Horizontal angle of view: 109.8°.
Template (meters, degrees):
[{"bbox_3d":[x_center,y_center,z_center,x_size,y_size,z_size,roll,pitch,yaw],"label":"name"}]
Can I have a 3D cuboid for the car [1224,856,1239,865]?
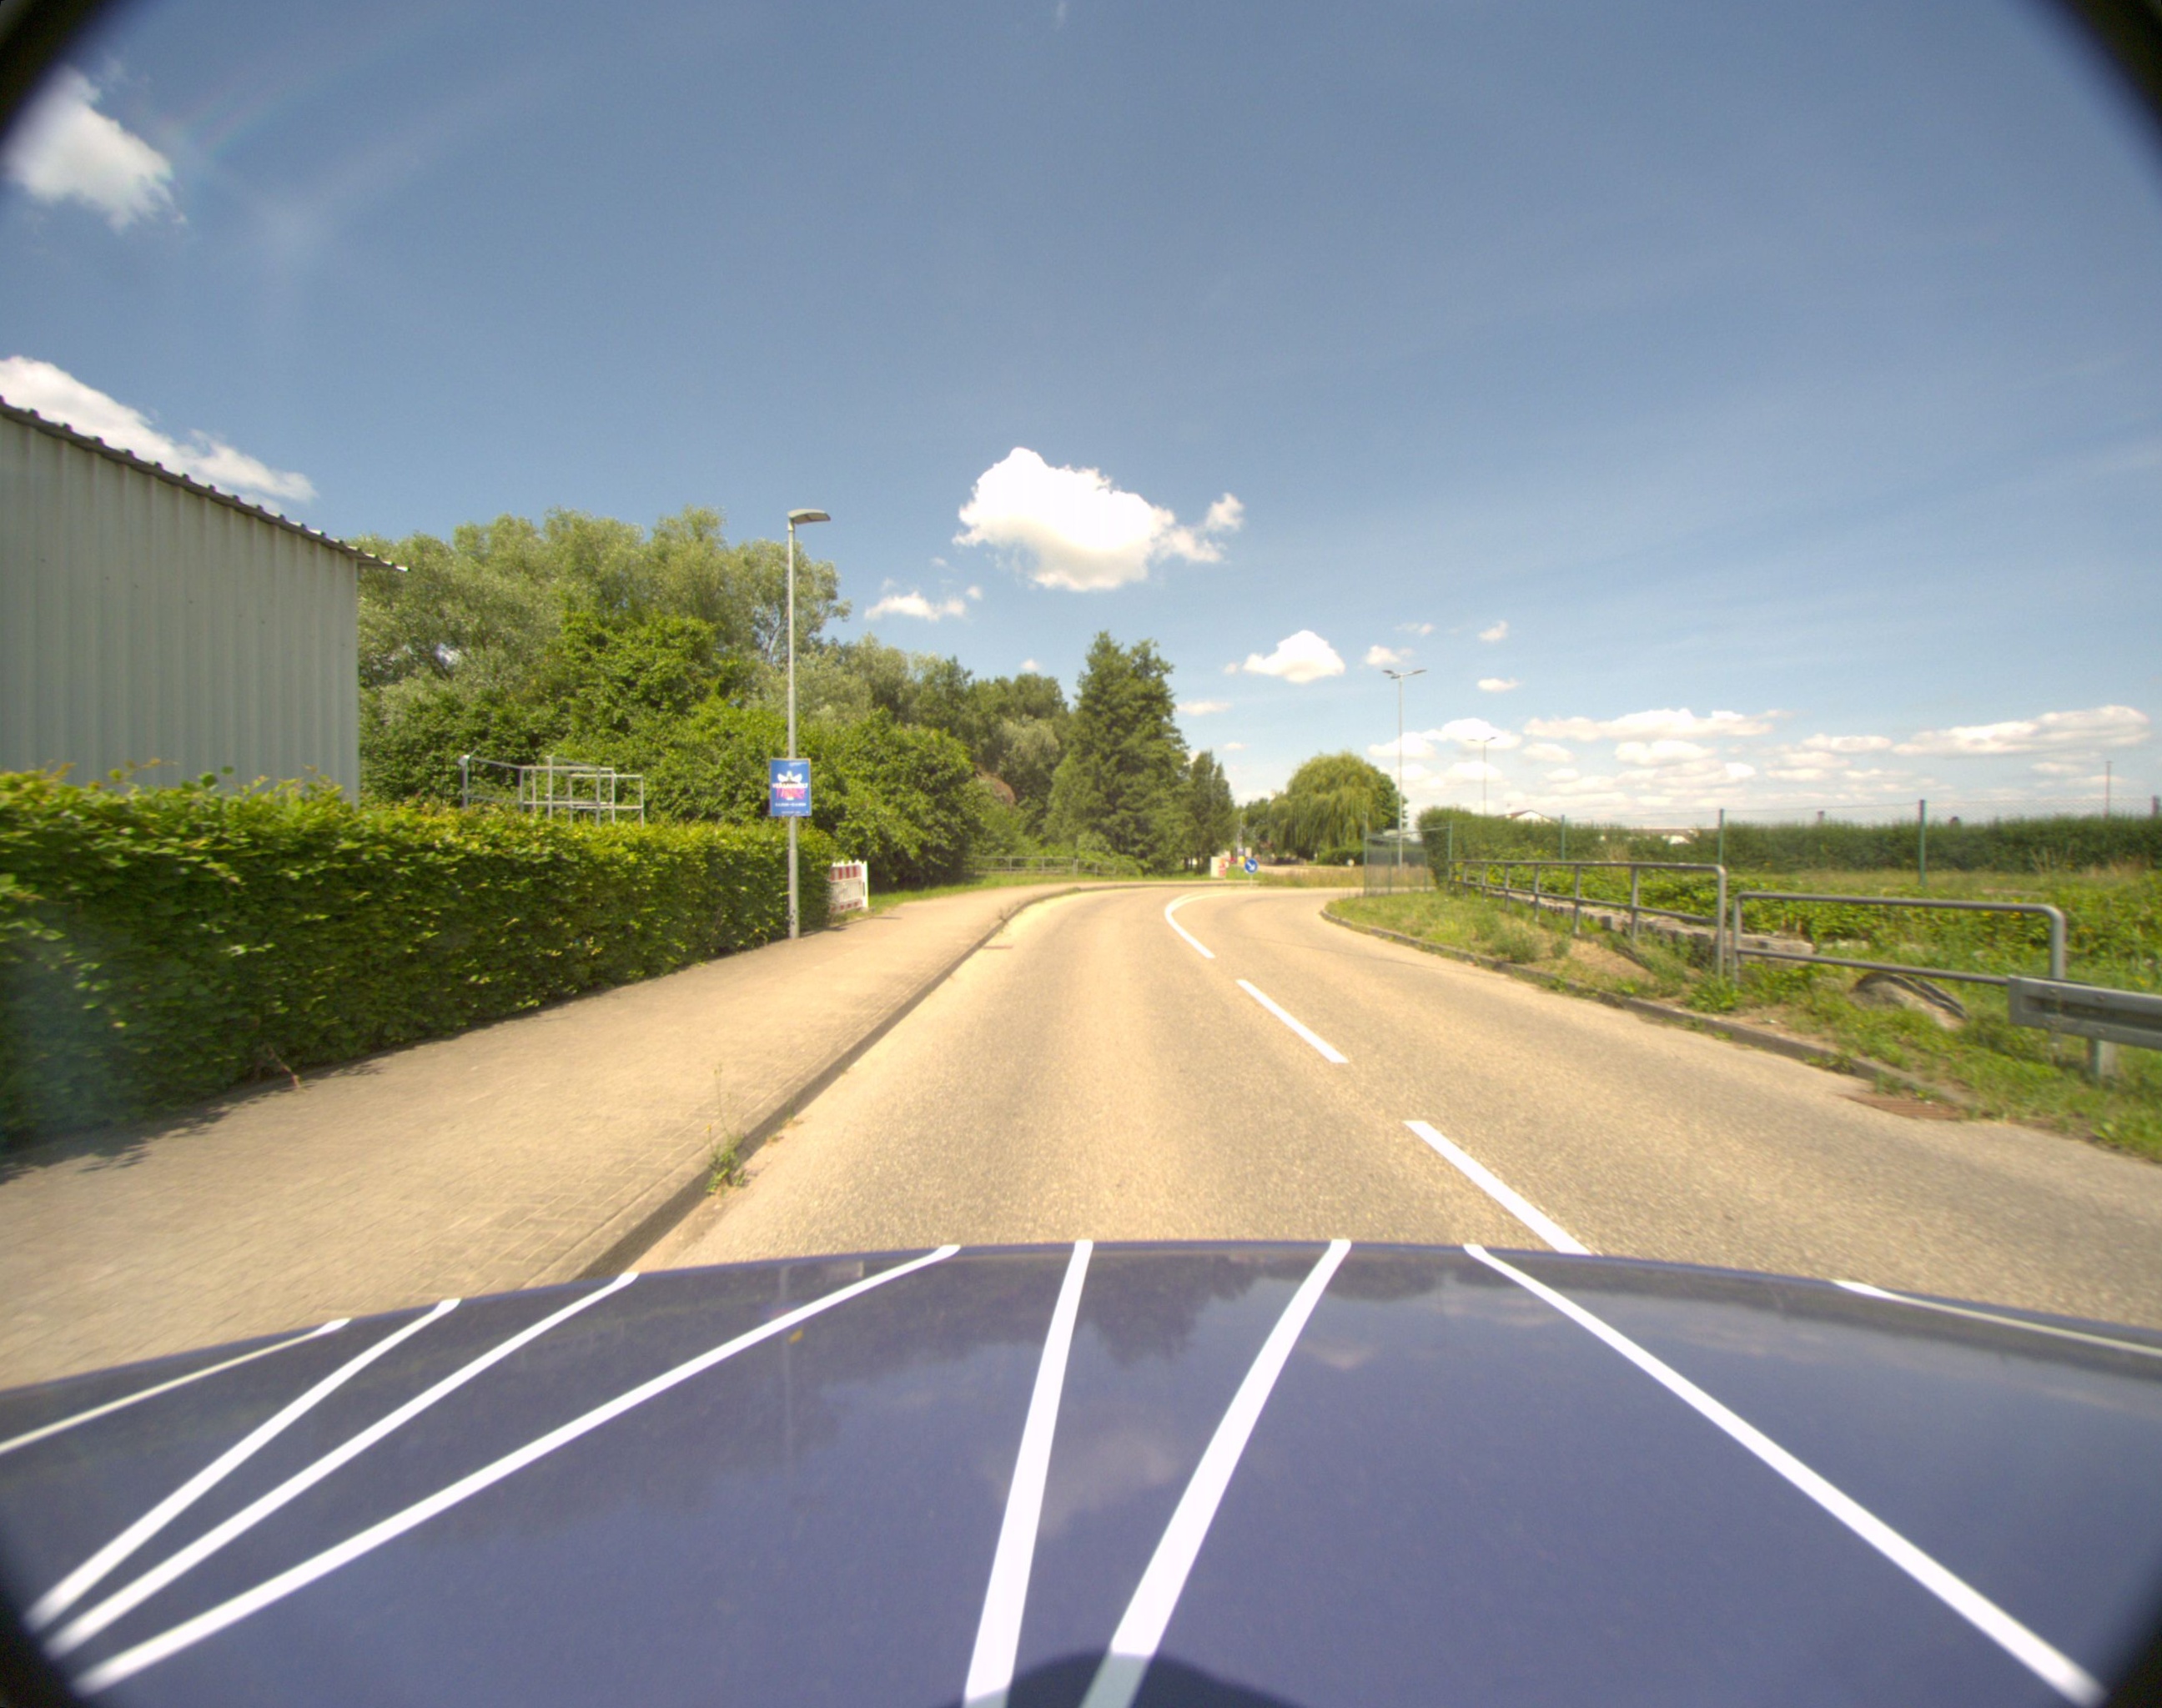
[{"bbox_3d":[26.201,1.144,132.169,1.884,1.455,4.388,1,0,4],"label":"car"}]
